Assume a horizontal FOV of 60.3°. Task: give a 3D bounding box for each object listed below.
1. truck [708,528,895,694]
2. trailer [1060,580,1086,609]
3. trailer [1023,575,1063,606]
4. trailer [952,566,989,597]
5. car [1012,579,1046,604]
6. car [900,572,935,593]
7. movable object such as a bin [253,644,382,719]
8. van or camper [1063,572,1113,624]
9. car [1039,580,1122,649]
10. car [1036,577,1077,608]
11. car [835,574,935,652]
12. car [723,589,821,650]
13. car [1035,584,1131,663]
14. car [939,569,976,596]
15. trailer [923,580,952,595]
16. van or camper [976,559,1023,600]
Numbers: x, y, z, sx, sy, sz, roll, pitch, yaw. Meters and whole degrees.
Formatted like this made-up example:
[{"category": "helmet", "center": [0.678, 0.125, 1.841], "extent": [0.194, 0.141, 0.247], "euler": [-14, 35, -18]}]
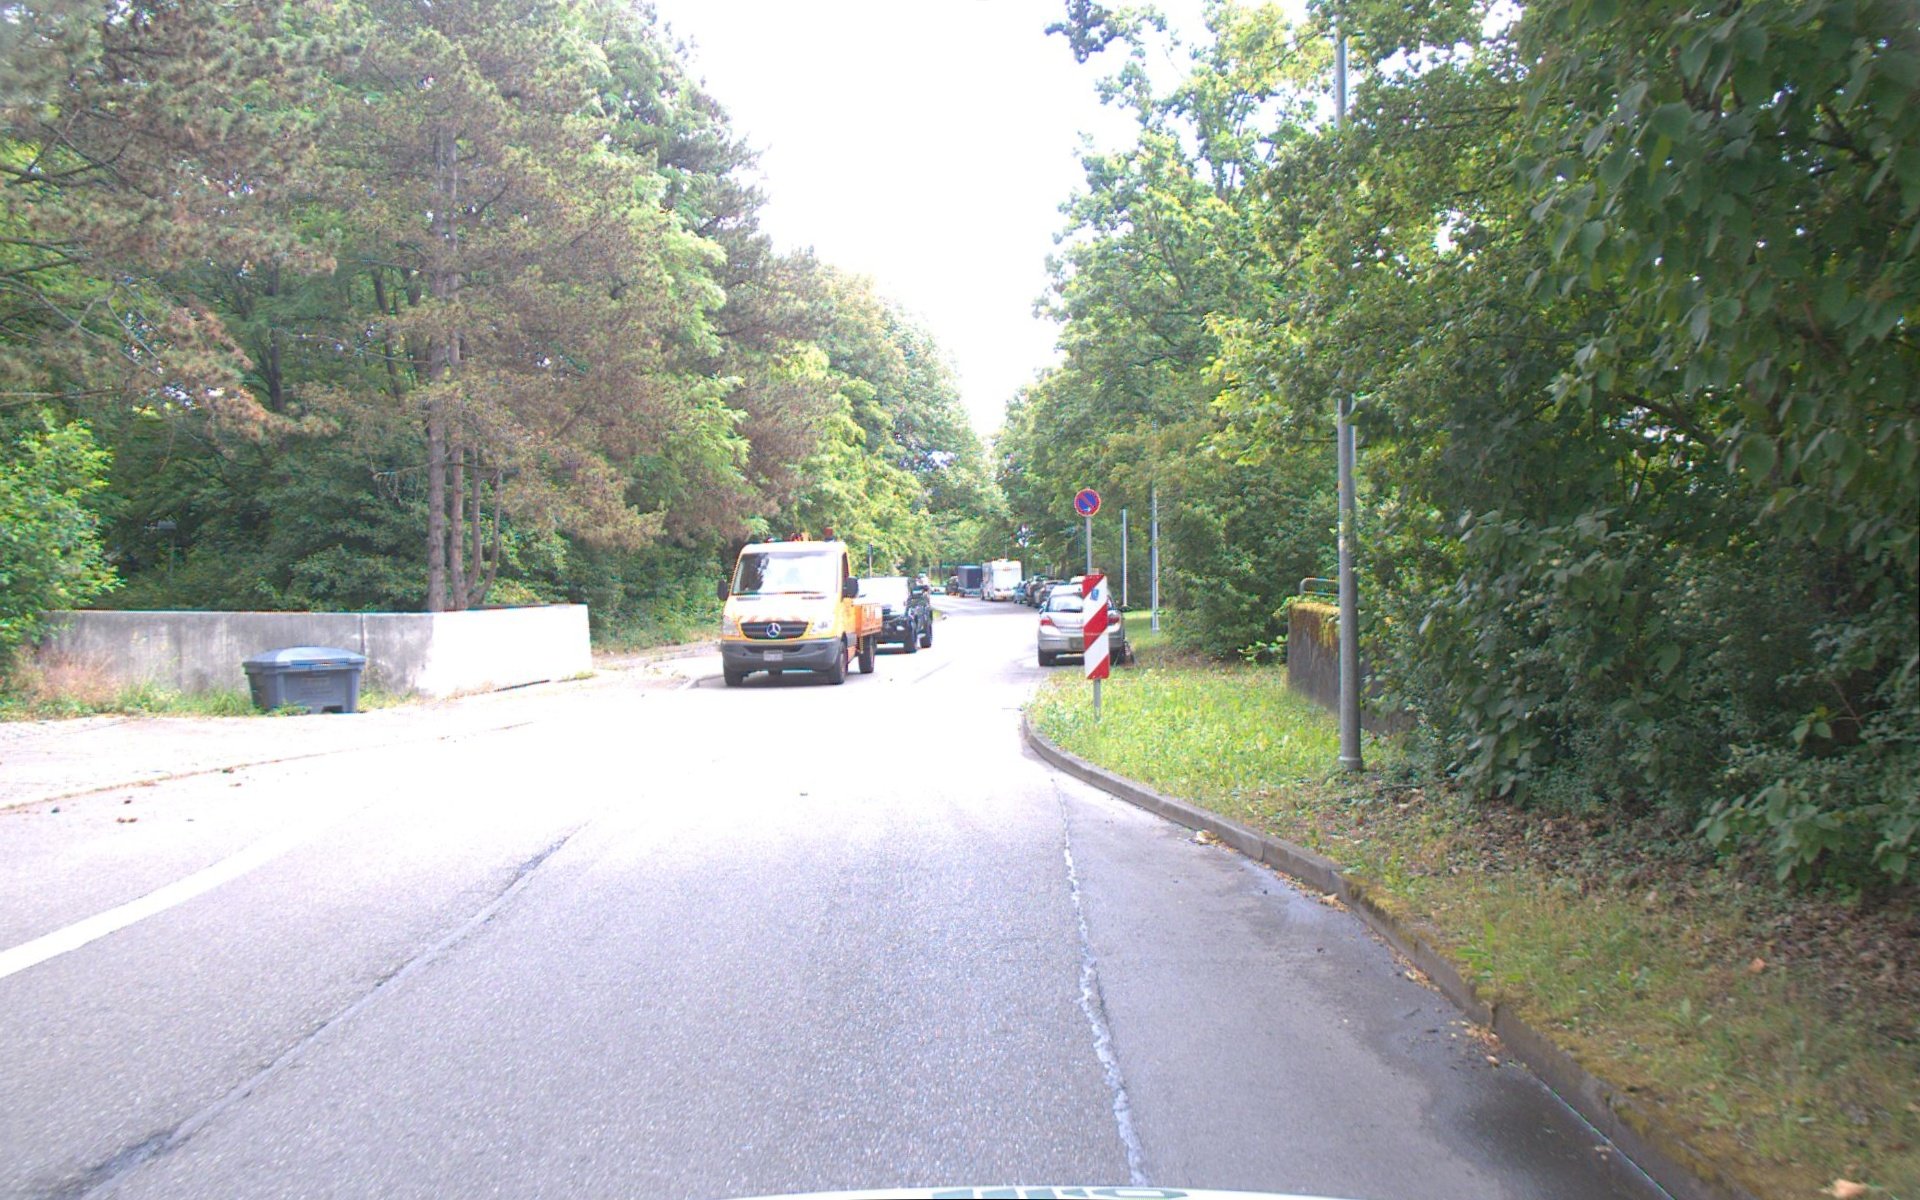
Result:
[{"category": "truck", "center": [-2.558, 0.112, 28.398], "extent": [2.273, 2.513, 6.023], "euler": [1, 1, 3]}, {"category": "trailer", "center": [6.258, -0.316, 91.832], "extent": [1.252, 1.612, 2.460], "euler": [-1, 1, 0]}, {"category": "trailer", "center": [5.236, -0.627, 104.424], "extent": [1.940, 1.843, 5.146], "euler": [-2, 1, -3]}, {"category": "trailer", "center": [0.844, -1.493, 134.730], "extent": [1.961, 2.440, 3.983], "euler": [-2, 1, -16]}, {"category": "car", "center": [4.705, -0.627, 113.782], "extent": [1.765, 1.589, 3.831], "euler": [-2, 1, -6]}, {"category": "car", "center": [-3.946, -1.601, 152.982], "extent": [2.006, 1.835, 4.057], "euler": [-2, 2, -21]}, {"category": "movable object such as a bin", "center": [-7.092, 0.881, 18.234], "extent": [1.133, 0.773, 1.037], "euler": [1, -1, -34]}, {"category": "van or camper", "center": [4.773, -0.040, 62.075], "extent": [1.764, 1.870, 4.322], "euler": [-1, -1, 3]}, {"category": "car", "center": [2.943, 0.308, 40.526], "extent": [1.846, 1.533, 5.179], "euler": [-1, 1, 4]}, {"category": "car", "center": [5.695, -0.415, 98.229], "extent": [1.757, 1.699, 4.497], "euler": [-2, -1, -5]}, {"category": "car", "center": [-1.773, 0.290, 41.012], "extent": [1.952, 1.766, 5.339], "euler": [-1, 0, 3]}, {"category": "car", "center": [-4.756, 0.455, 42.349], "extent": [1.768, 1.427, 4.374], "euler": [0, 1, 3]}, {"category": "car", "center": [2.505, 0.419, 33.090], "extent": [1.755, 1.435, 4.062], "euler": [-2, 0, 5]}, {"category": "car", "center": [-0.248, -1.496, 140.124], "extent": [1.962, 2.060, 3.983], "euler": [-4, 3, -16]}, {"category": "trailer", "center": [-1.995, -1.087, 143.892], "extent": [1.624, 1.105, 3.987], "euler": [-4, 2, -13]}, {"category": "van or camper", "center": [2.934, -1.566, 124.068], "extent": [2.435, 2.926, 6.877], "euler": [-1, 1, -8]}]
